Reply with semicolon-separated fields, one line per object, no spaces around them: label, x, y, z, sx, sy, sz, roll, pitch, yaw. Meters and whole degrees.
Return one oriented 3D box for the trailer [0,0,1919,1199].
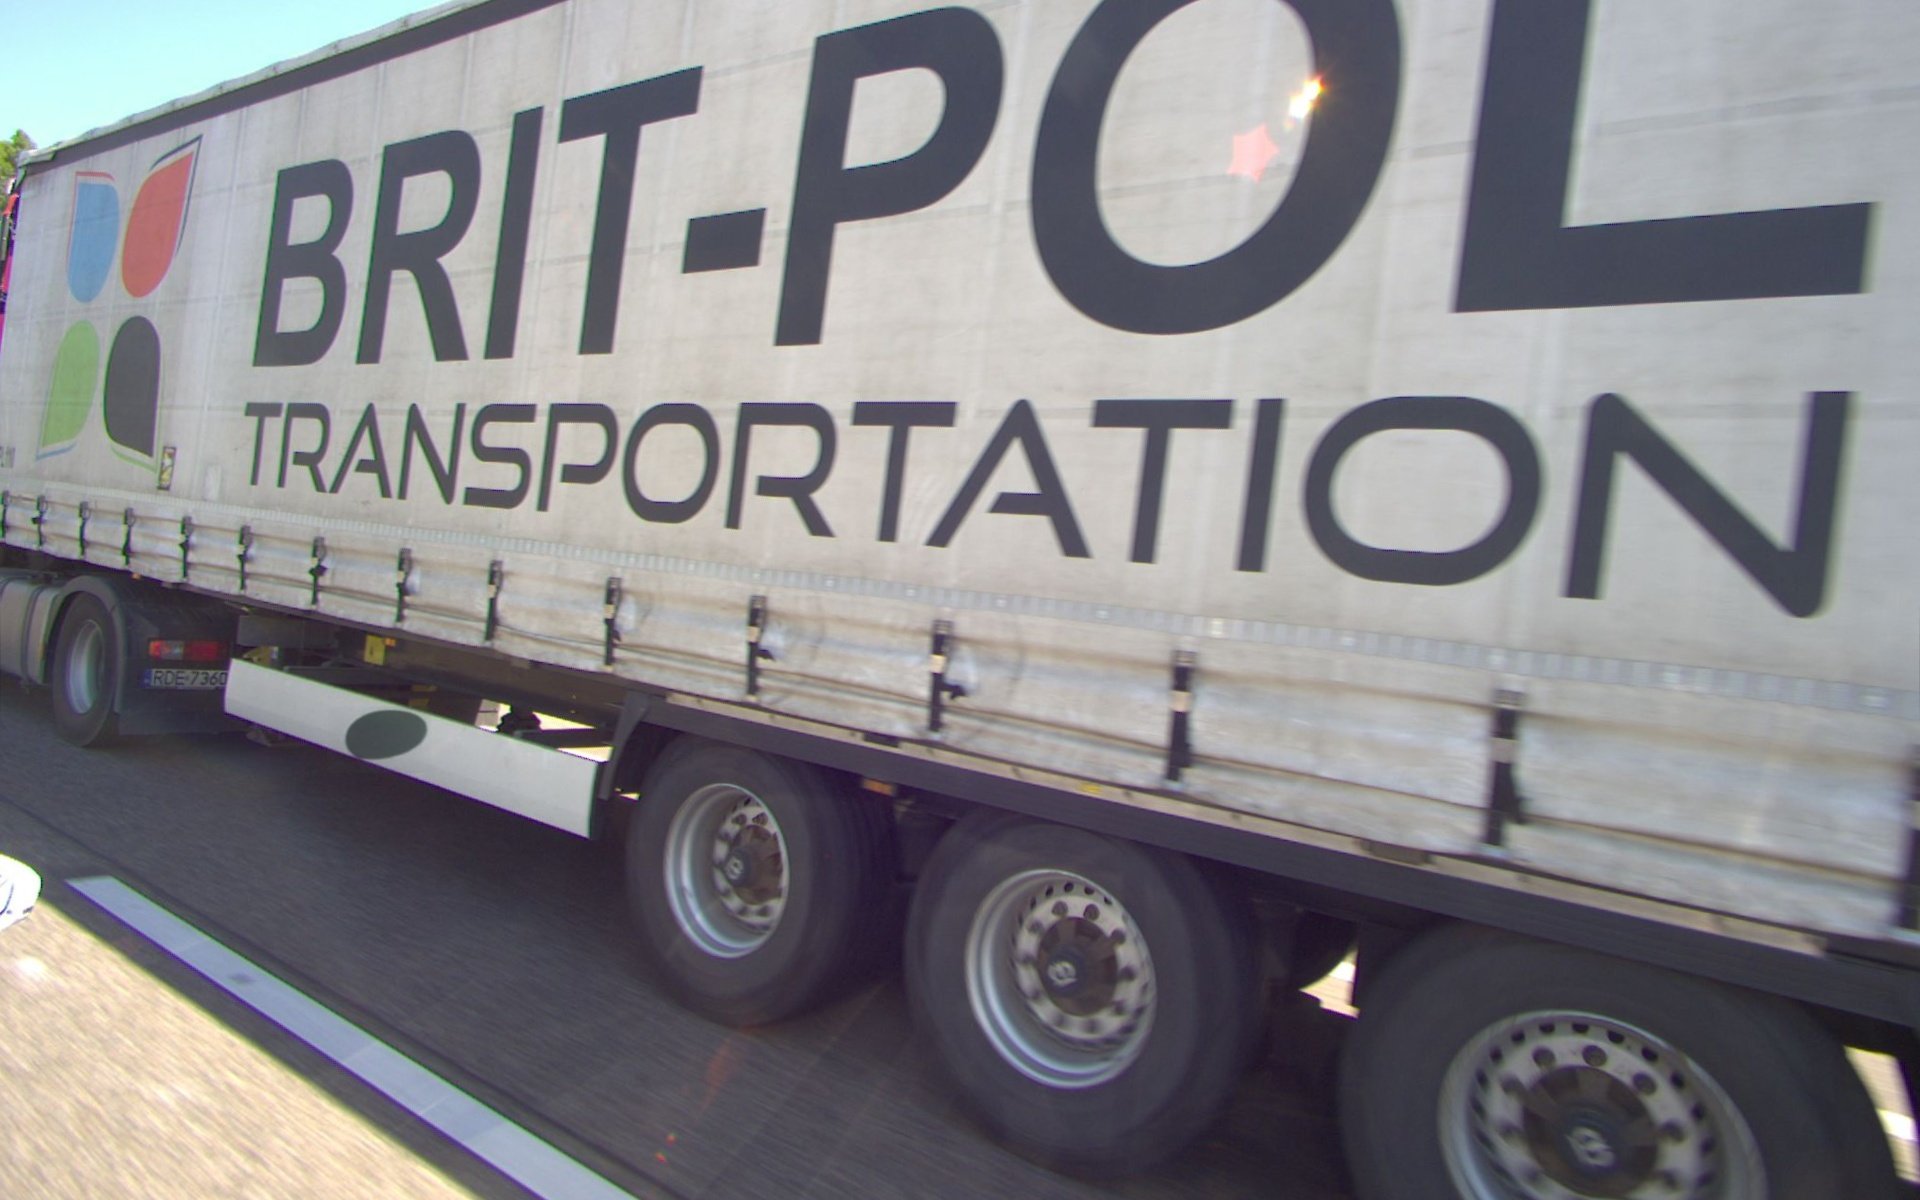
trailer;-1.723;-0.891;5.769;14.650;4.560;3.111;6;-1;32

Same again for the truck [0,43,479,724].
truck;-7.984;-1.538;9.459;5.952;4.493;3.093;6;-1;31
